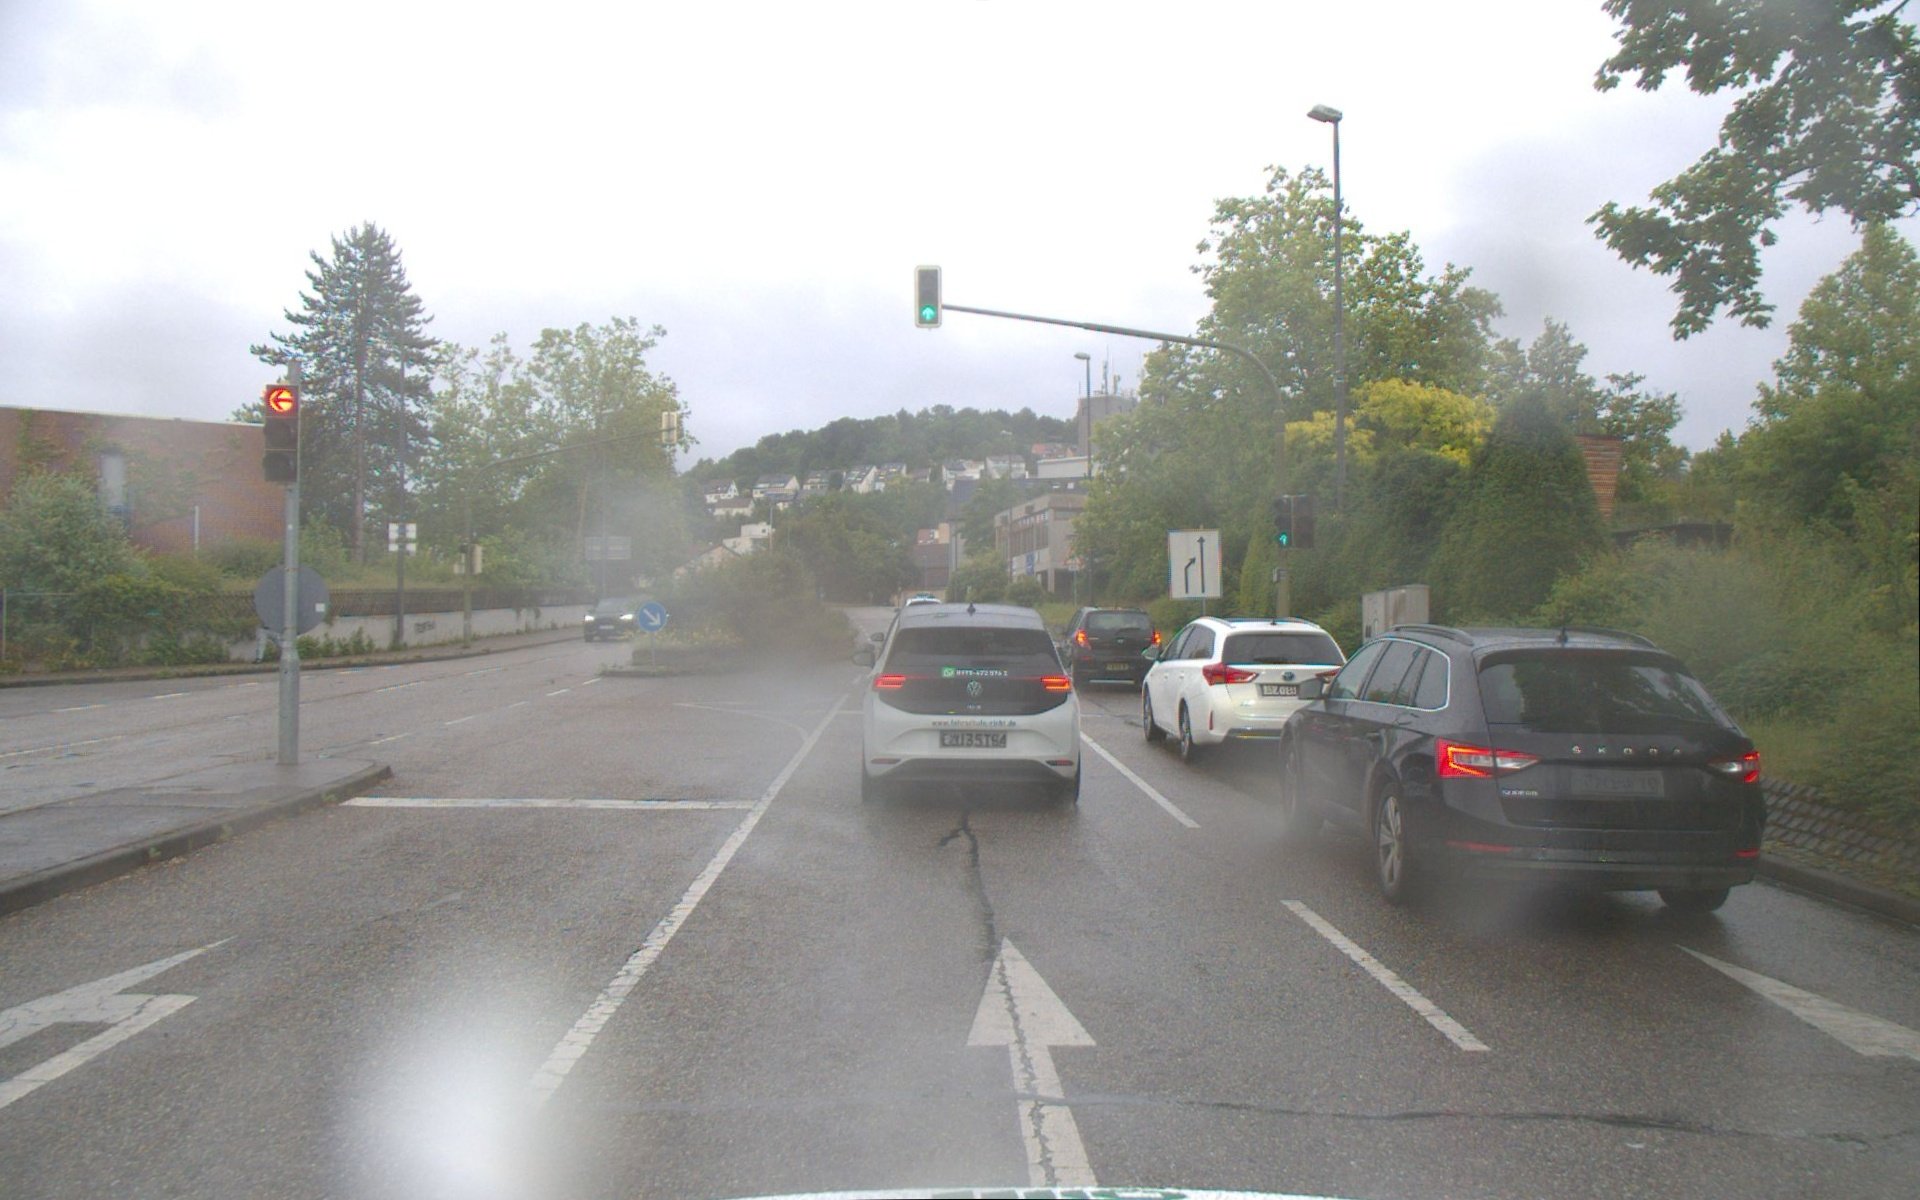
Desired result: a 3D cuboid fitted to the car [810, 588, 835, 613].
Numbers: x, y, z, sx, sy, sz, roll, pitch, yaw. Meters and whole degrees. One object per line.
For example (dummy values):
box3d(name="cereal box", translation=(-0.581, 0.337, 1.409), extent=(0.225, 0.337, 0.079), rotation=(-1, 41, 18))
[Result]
box3d(name="car", translation=(-11.432, 0.058, 137.730), extent=(1.954, 2.049, 3.997), rotation=(1, -1, -3))

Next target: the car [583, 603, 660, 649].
box3d(name="car", translation=(-12.090, 0.916, 59.357), extent=(1.910, 1.504, 4.294), rotation=(-2, -1, -1))

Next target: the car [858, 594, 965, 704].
box3d(name="car", translation=(-0.819, 0.689, 25.728), extent=(1.536, 1.557, 3.997), rotation=(0, 0, -4))

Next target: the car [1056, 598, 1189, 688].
box3d(name="car", translation=(2.917, 0.760, 30.415), extent=(1.953, 1.478, 3.770), rotation=(-2, -1, -1))

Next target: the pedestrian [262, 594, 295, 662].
box3d(name="pedestrian", translation=(-17.030, 0.690, 41.322), extent=(0.541, 1.671, 0.499), rotation=(-2, 0, 29))

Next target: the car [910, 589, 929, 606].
box3d(name="car", translation=(-3.848, -0.253, 157.783), extent=(1.703, 1.490, 3.997), rotation=(1, -1, -3))

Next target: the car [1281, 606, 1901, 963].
box3d(name="car", translation=(3.299, 0.858, 9.771), extent=(1.914, 1.534, 4.608), rotation=(2, -1, 1))

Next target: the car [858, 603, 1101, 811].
box3d(name="car", translation=(0.114, 0.814, 14.299), extent=(1.791, 1.526, 4.167), rotation=(0, -1, -1))

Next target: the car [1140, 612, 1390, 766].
box3d(name="car", translation=(3.098, 0.861, 17.669), extent=(1.810, 1.434, 4.300), rotation=(0, -1, -1))

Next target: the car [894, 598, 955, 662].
box3d(name="car", translation=(-1.183, 1.001, 56.100), extent=(1.953, 2.049, 3.999), rotation=(1, -1, -1))
